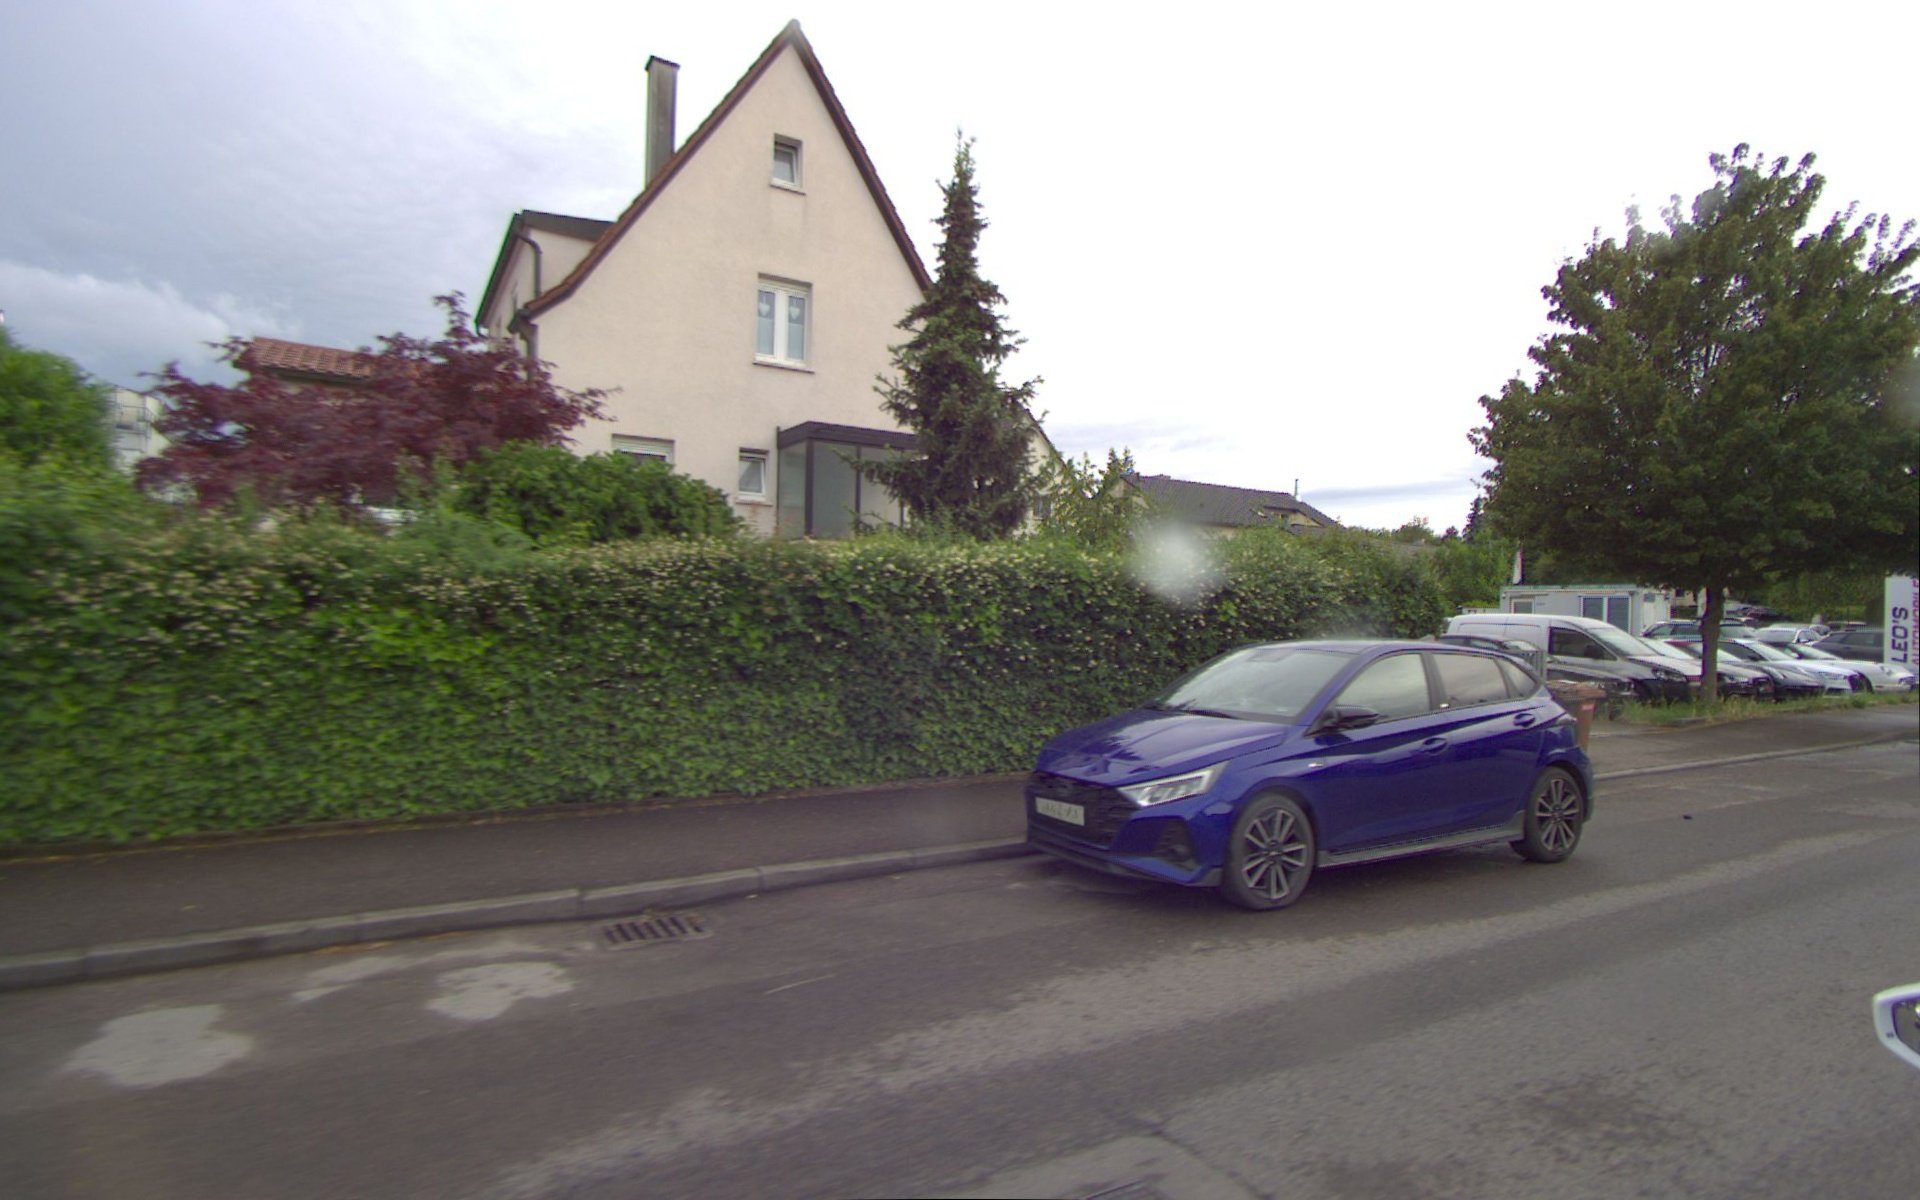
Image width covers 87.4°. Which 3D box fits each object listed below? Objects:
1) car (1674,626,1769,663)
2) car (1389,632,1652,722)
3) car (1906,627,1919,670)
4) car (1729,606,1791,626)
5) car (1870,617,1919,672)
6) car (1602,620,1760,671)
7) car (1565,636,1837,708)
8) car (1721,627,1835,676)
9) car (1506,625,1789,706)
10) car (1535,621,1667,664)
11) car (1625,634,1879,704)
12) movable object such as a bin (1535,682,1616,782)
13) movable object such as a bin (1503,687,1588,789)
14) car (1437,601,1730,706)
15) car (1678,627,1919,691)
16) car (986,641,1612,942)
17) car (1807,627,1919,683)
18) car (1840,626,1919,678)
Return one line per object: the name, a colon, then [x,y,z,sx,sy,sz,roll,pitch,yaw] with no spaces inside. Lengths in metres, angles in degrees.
car: [30.825,1.765,40.655,3.952,1.417,1.684,1,-1,-30]
car: [10.153,1.320,18.453,1.743,1.390,3.888,1,-1,-33]
car: [33.642,1.631,32.300,1.935,1.451,4.329,1,-1,-29]
car: [74.038,1.434,93.005,3.919,1.747,2.001,1,1,8]
car: [31.379,1.405,31.093,2.033,1.714,4.329,1,-1,-29]
car: [23.378,1.430,32.750,1.903,1.519,3.992,1,-1,-11]
car: [16.259,1.516,22.320,1.867,1.327,4.536,1,-1,-30]
car: [27.729,1.704,34.030,3.952,1.550,1.684,1,-1,-30]
car: [14.157,1.282,20.964,1.878,1.437,4.530,1,-1,-33]
car: [24.953,1.607,39.217,1.817,1.550,3.966,1,-1,-31]
car: [18.454,1.552,23.630,1.867,1.392,4.356,1,-1,-30]
movable object such as a bin: [6.297,1.340,10.291,0.420,0.923,0.537,1,2,-31]
movable object such as a bin: [5.900,1.378,10.131,0.500,0.923,0.537,1,2,-31]
car: [12.017,0.957,19.678,1.878,1.814,4.530,1,-1,-33]
car: [20.491,1.382,24.585,1.750,1.349,4.431,1,-1,-30]
car: [2.286,0.995,6.608,3.898,1.421,1.798,1,-2,-30]
car: [26.995,1.567,28.639,1.817,1.483,3.970,1,-1,-29]
car: [29.132,1.560,29.688,1.917,1.483,4.329,1,-1,-29]
